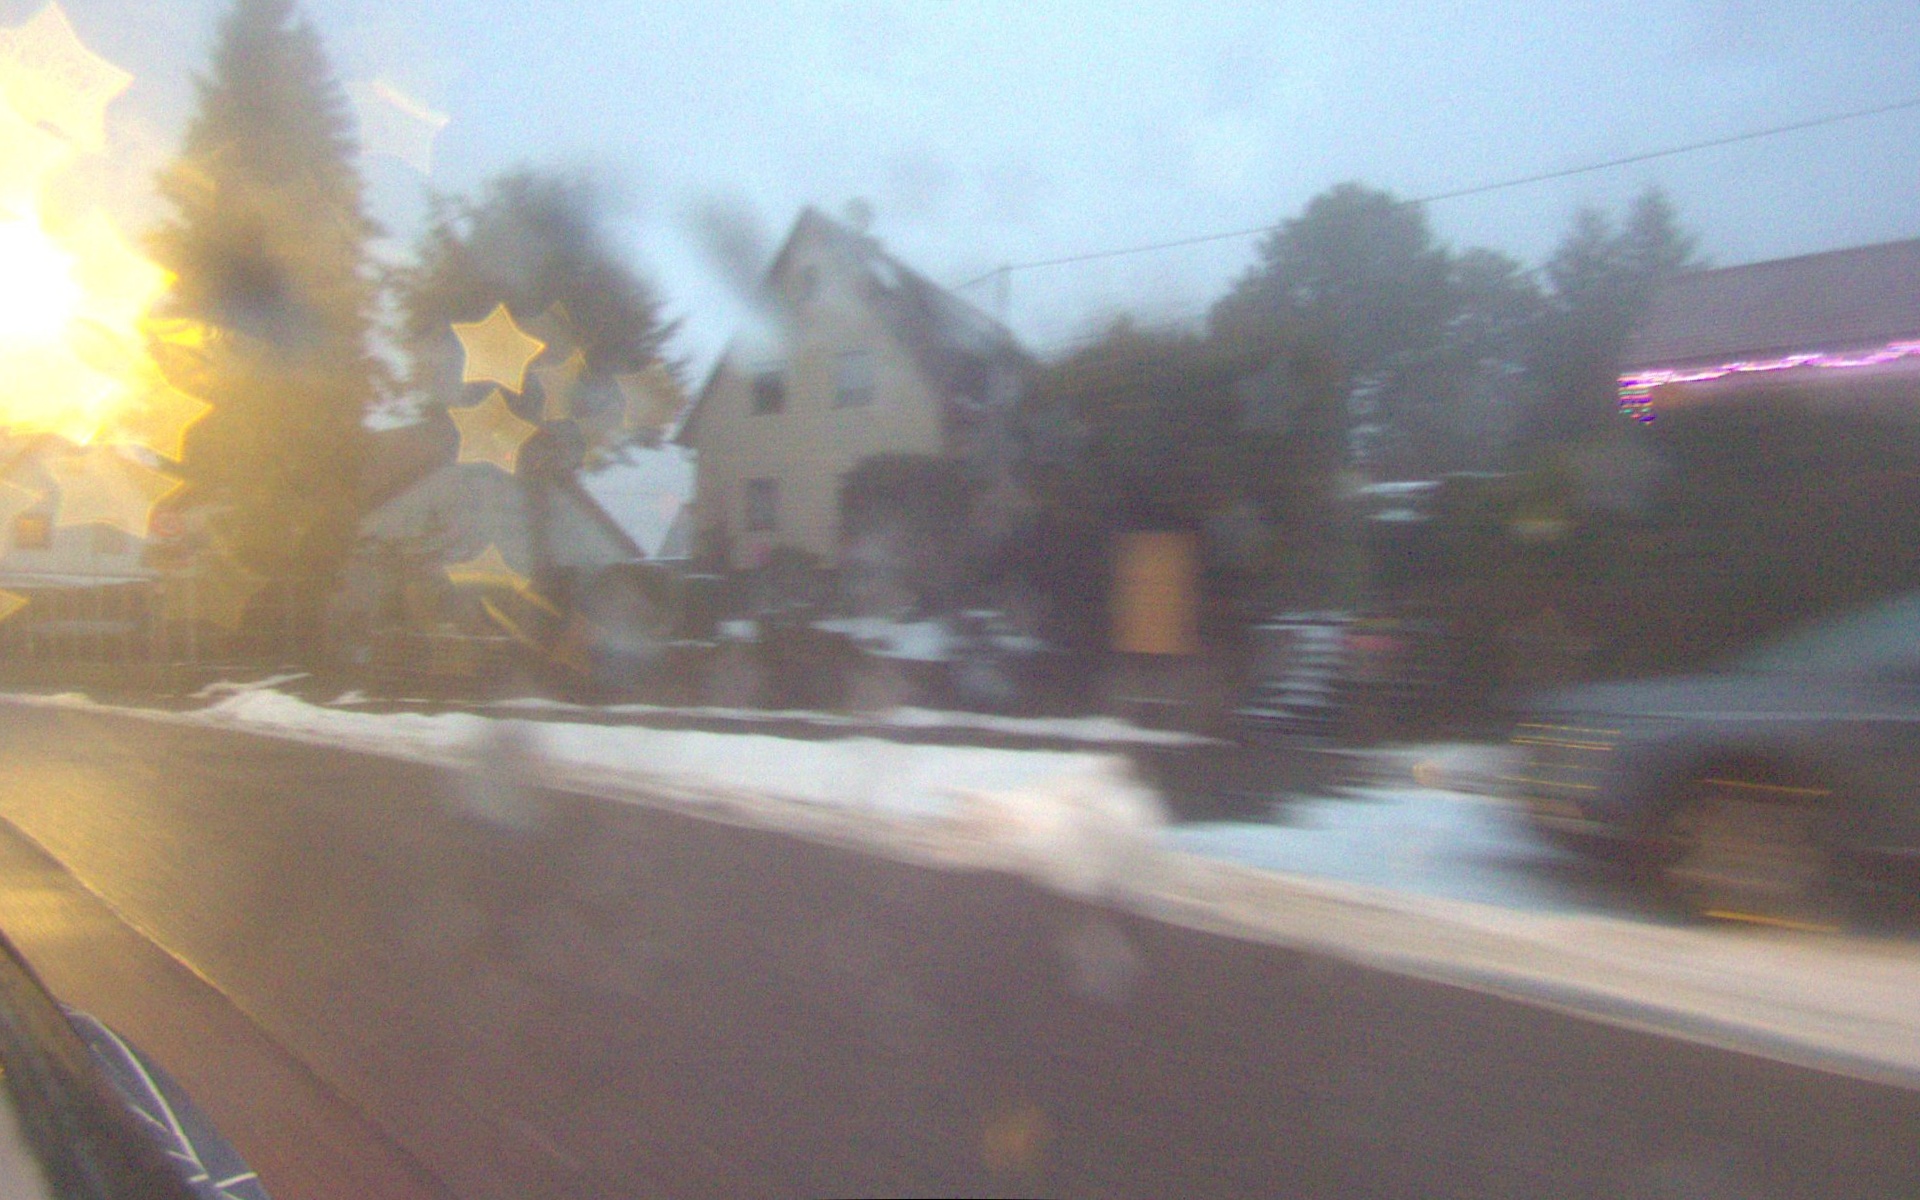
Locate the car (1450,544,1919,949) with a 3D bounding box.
[{"bbox_3d":[4.986,0.631,4.504,4.967,1.578,1.984,0,-3,24],"label":"car"}]
